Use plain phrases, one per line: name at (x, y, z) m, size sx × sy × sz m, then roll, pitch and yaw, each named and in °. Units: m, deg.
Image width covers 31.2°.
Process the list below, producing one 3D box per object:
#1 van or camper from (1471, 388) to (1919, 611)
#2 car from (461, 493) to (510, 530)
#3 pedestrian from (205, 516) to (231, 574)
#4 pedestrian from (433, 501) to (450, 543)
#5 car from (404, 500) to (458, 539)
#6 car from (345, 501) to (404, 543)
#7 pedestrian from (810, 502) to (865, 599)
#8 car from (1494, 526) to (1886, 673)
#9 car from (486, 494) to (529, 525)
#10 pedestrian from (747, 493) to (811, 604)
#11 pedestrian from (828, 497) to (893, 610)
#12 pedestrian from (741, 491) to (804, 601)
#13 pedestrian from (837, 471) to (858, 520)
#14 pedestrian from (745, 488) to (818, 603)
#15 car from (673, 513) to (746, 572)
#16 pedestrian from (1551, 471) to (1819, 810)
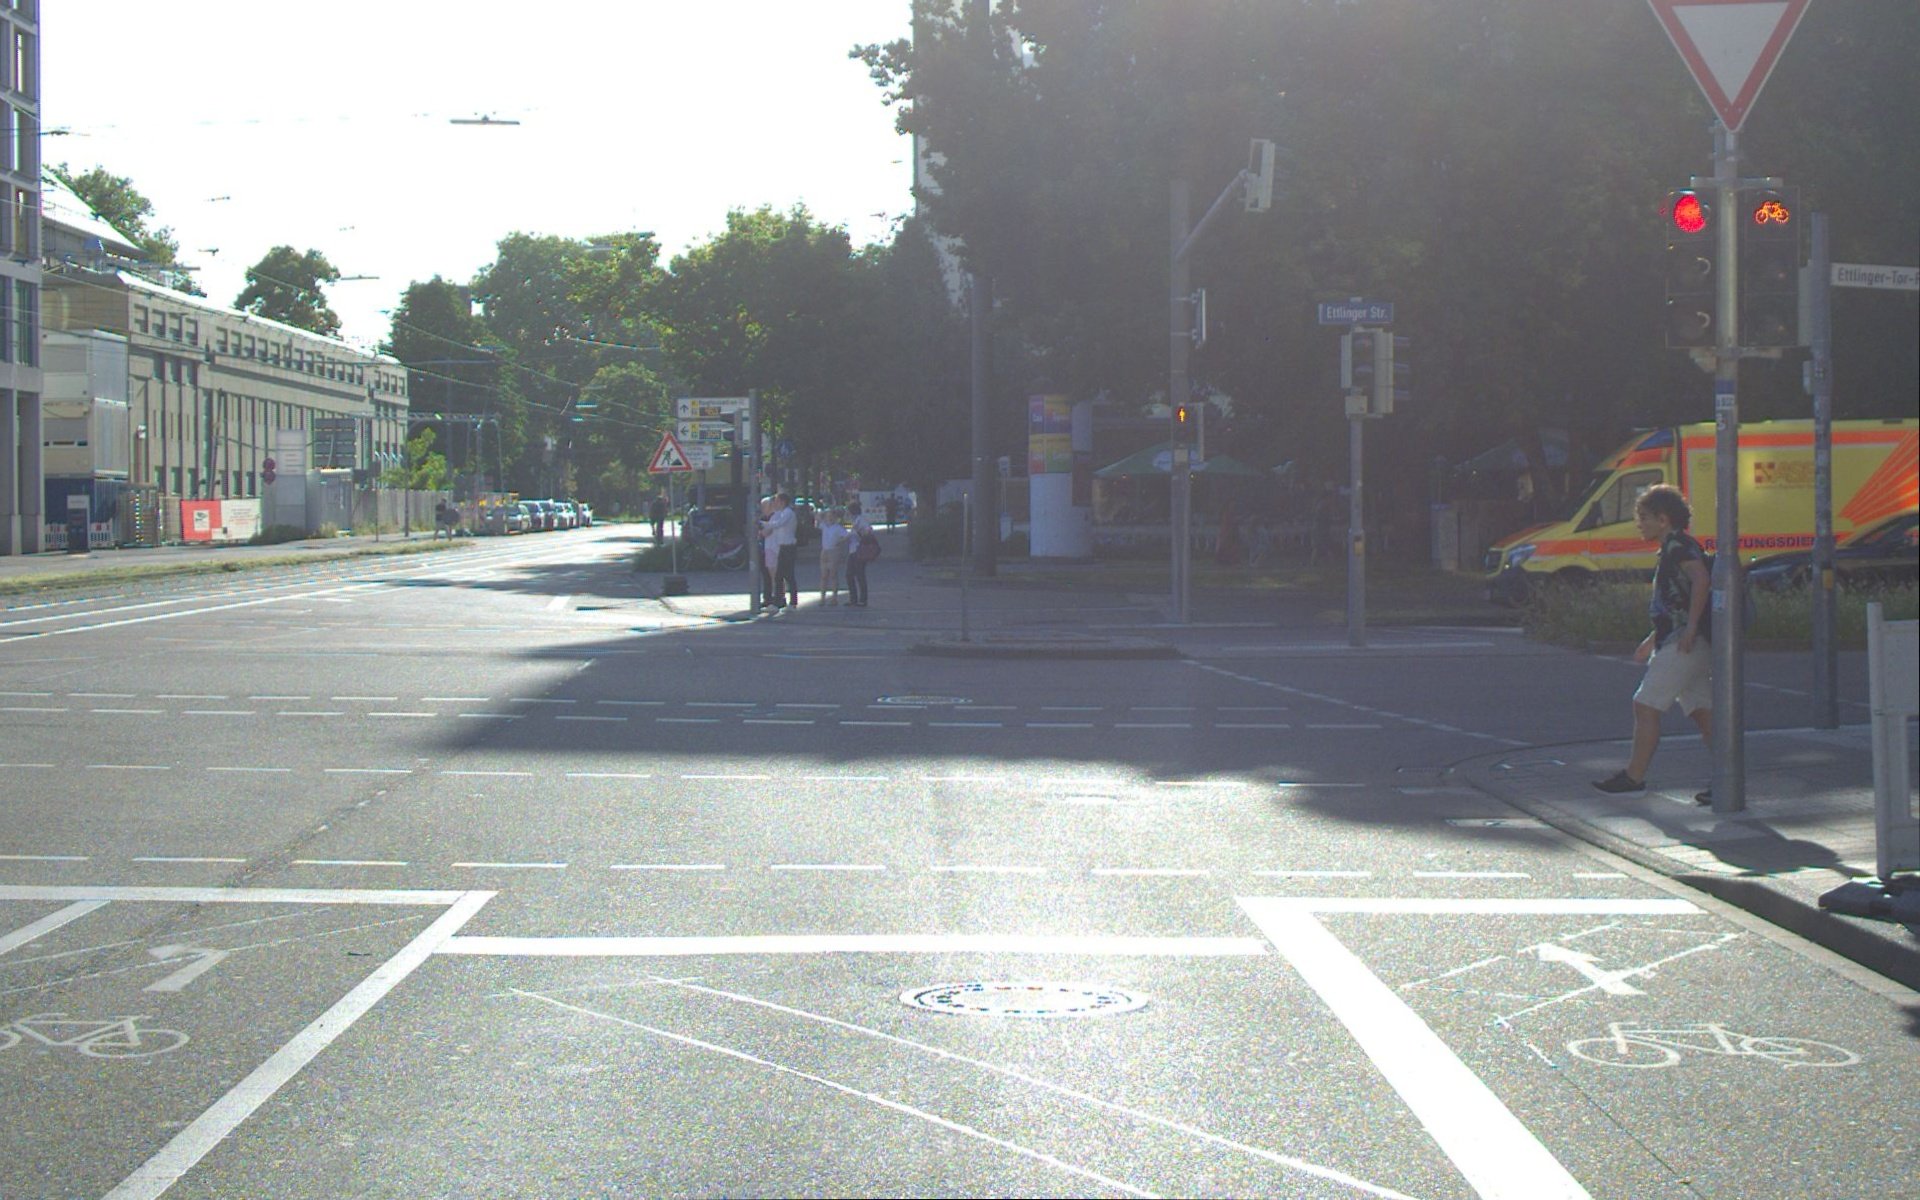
van or camper at (10.582, -1.349, 47.405) m, size 6.709 × 2.852 × 2.910 m, roll 1°, pitch 0°, yaw 4°
car at (-22.718, -4.230, 164.763) m, size 1.819 × 1.706 × 3.806 m, roll -1°, pitch 1°, yaw -1°
pedestrian at (-17.045, -1.271, 79.004) m, size 0.511 × 1.324 × 0.369 m, roll 0°, pitch 1°, yaw 1°
pedestrian at (-18.718, -2.820, 124.188) m, size 0.524 × 1.479 × 0.437 m, roll 1°, pitch 0°, yaw -2°
car at (-23.527, -3.582, 153.060) m, size 1.819 × 1.706 × 3.806 m, roll -1°, pitch 1°, yaw -1°
car at (-24.182, -3.241, 142.187) m, size 1.819 × 1.706 × 3.806 m, roll -1°, pitch 1°, yaw -1°
pedestrian at (-1.984, -0.810, 55.719) m, size 0.762 × 1.553 × 0.588 m, roll -1°, pitch 1°, yaw -17°
car at (8.805, -0.010, 41.733) m, size 4.314 × 1.641 × 1.888 m, roll 1°, pitch 0°, yaw 0°
car at (-22.211, -4.430, 168.862) m, size 1.609 × 1.493 × 3.806 m, roll -1°, pitch 1°, yaw -1°
pedestrian at (-2.922, -0.836, 55.505) m, size 0.847 × 1.778 × 0.780 m, roll -1°, pitch 1°, yaw -17°
pedestrian at (-1.595, -0.748, 55.041) m, size 0.847 × 1.778 × 0.780 m, roll -1°, pitch 1°, yaw -17°
pedestrian at (-3.077, -0.884, 56.327) m, size 0.847 × 1.778 × 0.780 m, roll -1°, pitch 1°, yaw -17°
pedestrian at (-8.347, -7.761, 254.750) m, size 1.401 × 3.584 × 1.568 m, roll 1°, pitch 0°, yaw -1°
pedestrian at (-2.792, -0.855, 53.818) m, size 0.965 × 1.778 × 0.780 m, roll -1°, pitch 1°, yaw -17°
car at (-6.655, -1.516, 91.658) m, size 1.684 × 1.495 × 3.509 m, roll 1°, pitch 0°, yaw -1°
pedestrian at (3.790, 0.192, 18.039) m, size 1.039 × 1.715 × 1.035 m, roll -1°, pitch 1°, yaw -12°
